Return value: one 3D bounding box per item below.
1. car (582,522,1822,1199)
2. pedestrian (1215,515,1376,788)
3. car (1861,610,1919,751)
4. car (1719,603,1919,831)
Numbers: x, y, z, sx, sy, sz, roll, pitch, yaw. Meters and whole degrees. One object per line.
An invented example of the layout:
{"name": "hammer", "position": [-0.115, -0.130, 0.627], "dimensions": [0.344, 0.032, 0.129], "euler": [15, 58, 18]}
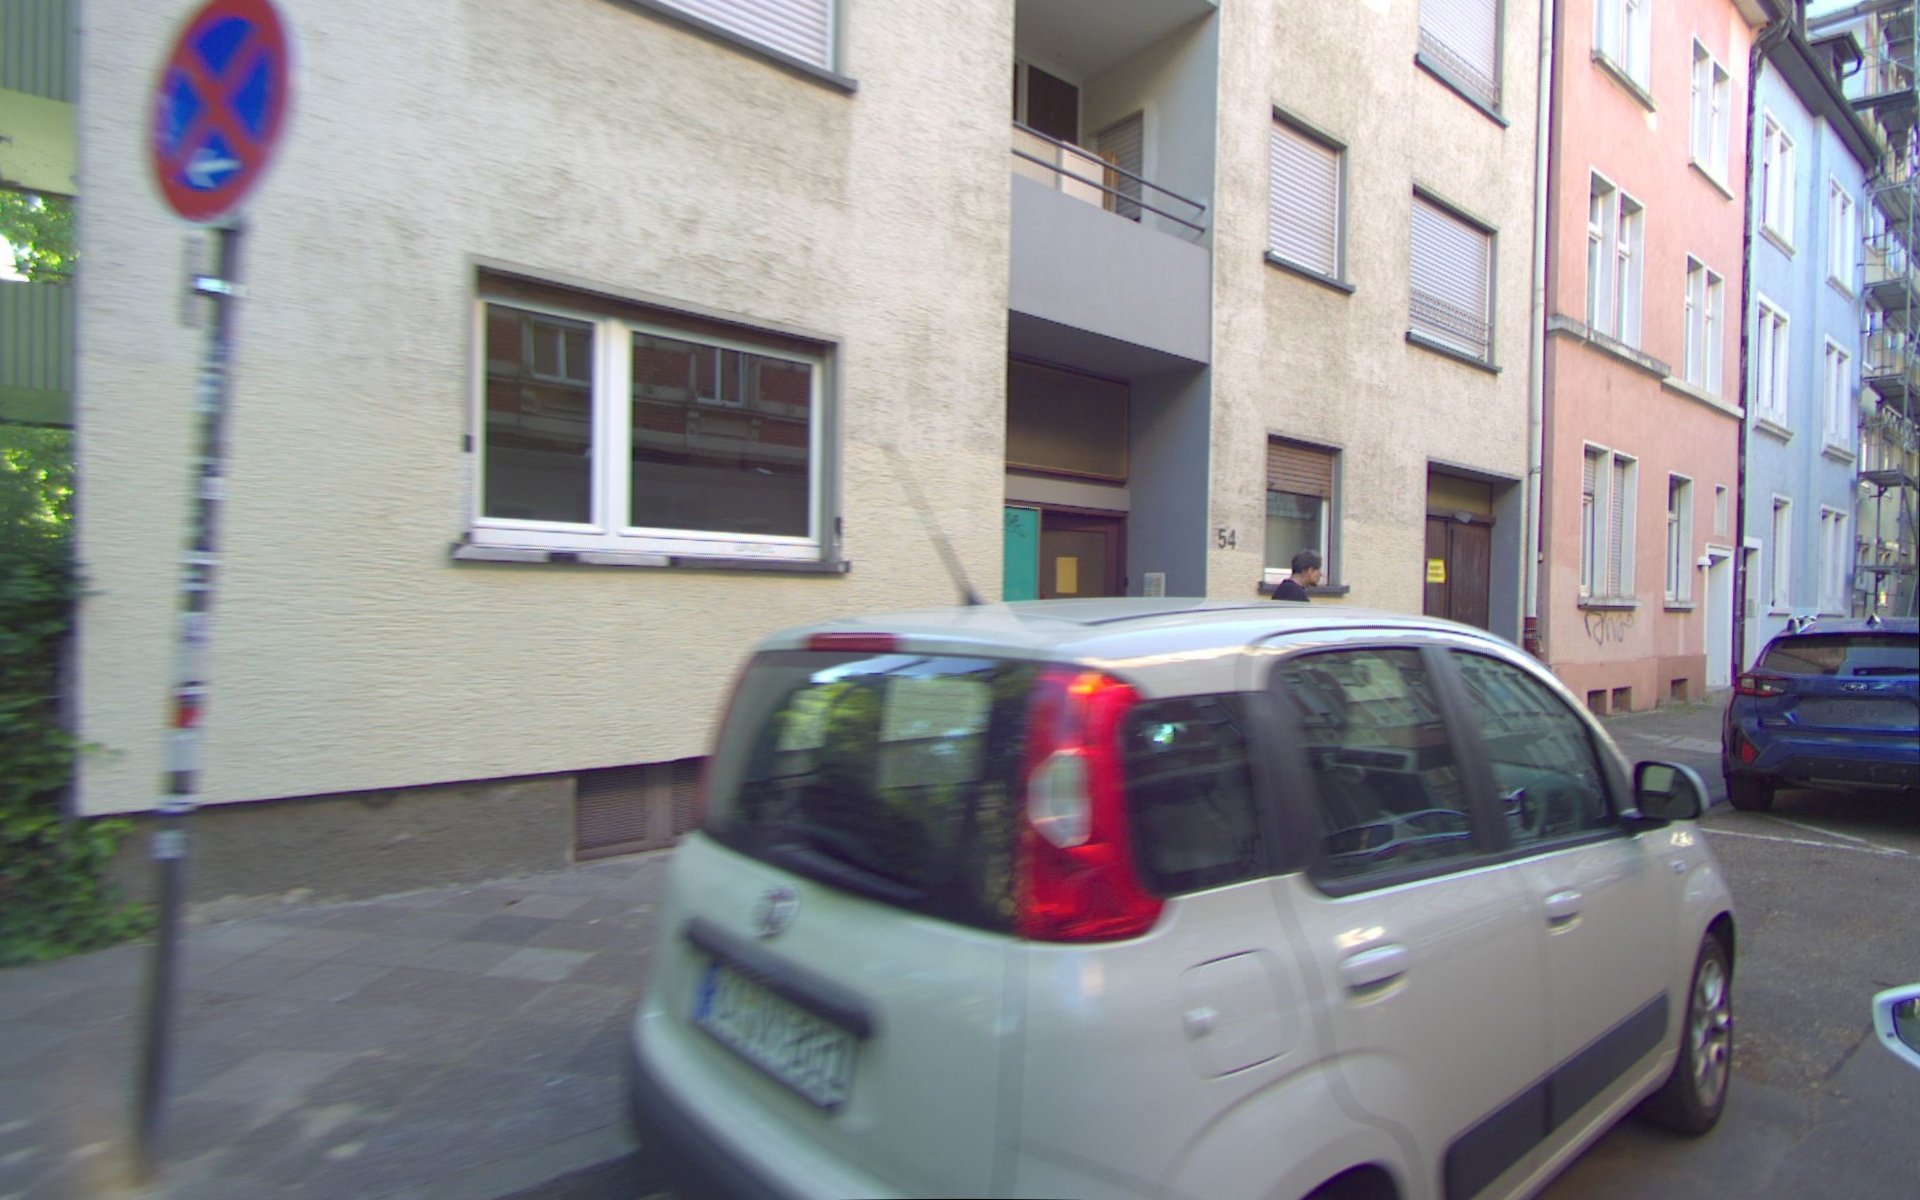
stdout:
{"name": "car", "position": [1.082, 0.727, 3.018], "dimensions": [3.836, 1.560, 1.661], "euler": [1, -1, -39]}
{"name": "pedestrian", "position": [2.461, 0.355, 7.406], "dimensions": [0.667, 1.864, 0.900], "euler": [1, 0, -38]}
{"name": "car", "position": [12.397, 0.919, 12.094], "dimensions": [4.377, 1.532, 1.661], "euler": [1, 0, -39]}
{"name": "car", "position": [8.027, 0.842, 8.521], "dimensions": [4.344, 1.560, 1.714], "euler": [1, -1, -41]}
